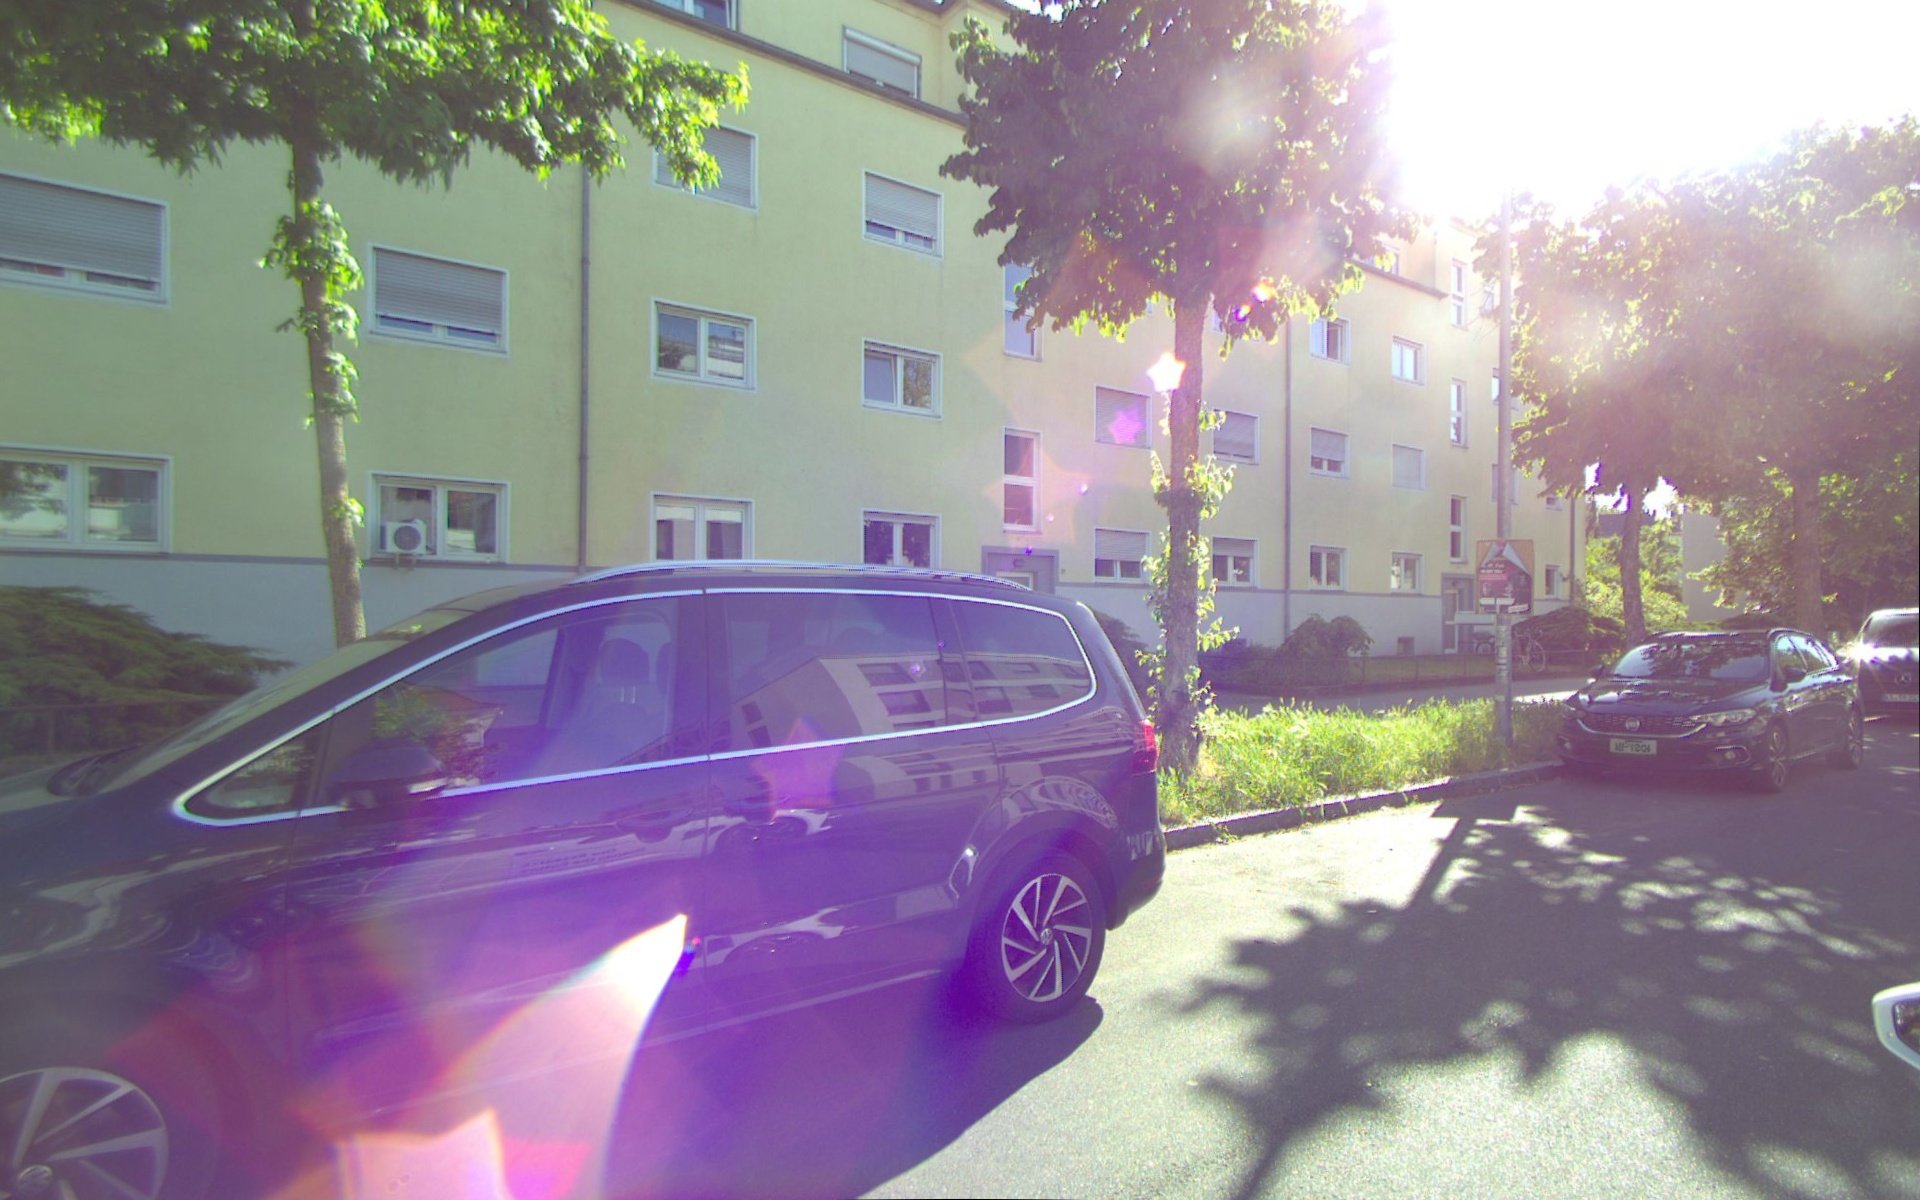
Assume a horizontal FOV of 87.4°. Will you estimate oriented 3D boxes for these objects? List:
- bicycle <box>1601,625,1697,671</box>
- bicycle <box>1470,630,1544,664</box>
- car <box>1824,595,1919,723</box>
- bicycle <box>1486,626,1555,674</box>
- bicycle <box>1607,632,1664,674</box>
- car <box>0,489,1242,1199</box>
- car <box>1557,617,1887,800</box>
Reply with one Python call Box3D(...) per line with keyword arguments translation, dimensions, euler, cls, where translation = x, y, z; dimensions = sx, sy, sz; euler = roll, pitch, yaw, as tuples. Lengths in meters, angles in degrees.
Box3D(translation=(19.162, 1.311, 27.979), dimensions=(2.123, 1.225, 0.686), euler=(-1, -2, 44), cls="bicycle")
Box3D(translation=(16.759, 1.426, 30.812), dimensions=(0.592, 1.005, 1.904), euler=(1, -1, -42), cls="bicycle")
Box3D(translation=(16.454, 0.934, 16.822), dimensions=(5.091, 1.929, 1.814), euler=(1, -2, -36), cls="car")
Box3D(translation=(12.463, 1.092, 22.302), dimensions=(1.909, 1.005, 0.590), euler=(1, -1, -36), cls="bicycle")
Box3D(translation=(17.289, 1.341, 25.695), dimensions=(1.909, 1.005, 0.590), euler=(1, -1, -36), cls="bicycle")
Box3D(translation=(-1.315, 0.691, 3.626), dimensions=(4.929, 1.702, 1.837), euler=(1, -3, -37), cls="car")
Box3D(translation=(8.211, 1.006, 10.658), dimensions=(4.733, 1.568, 1.497), euler=(1, -3, -37), cls="car")
